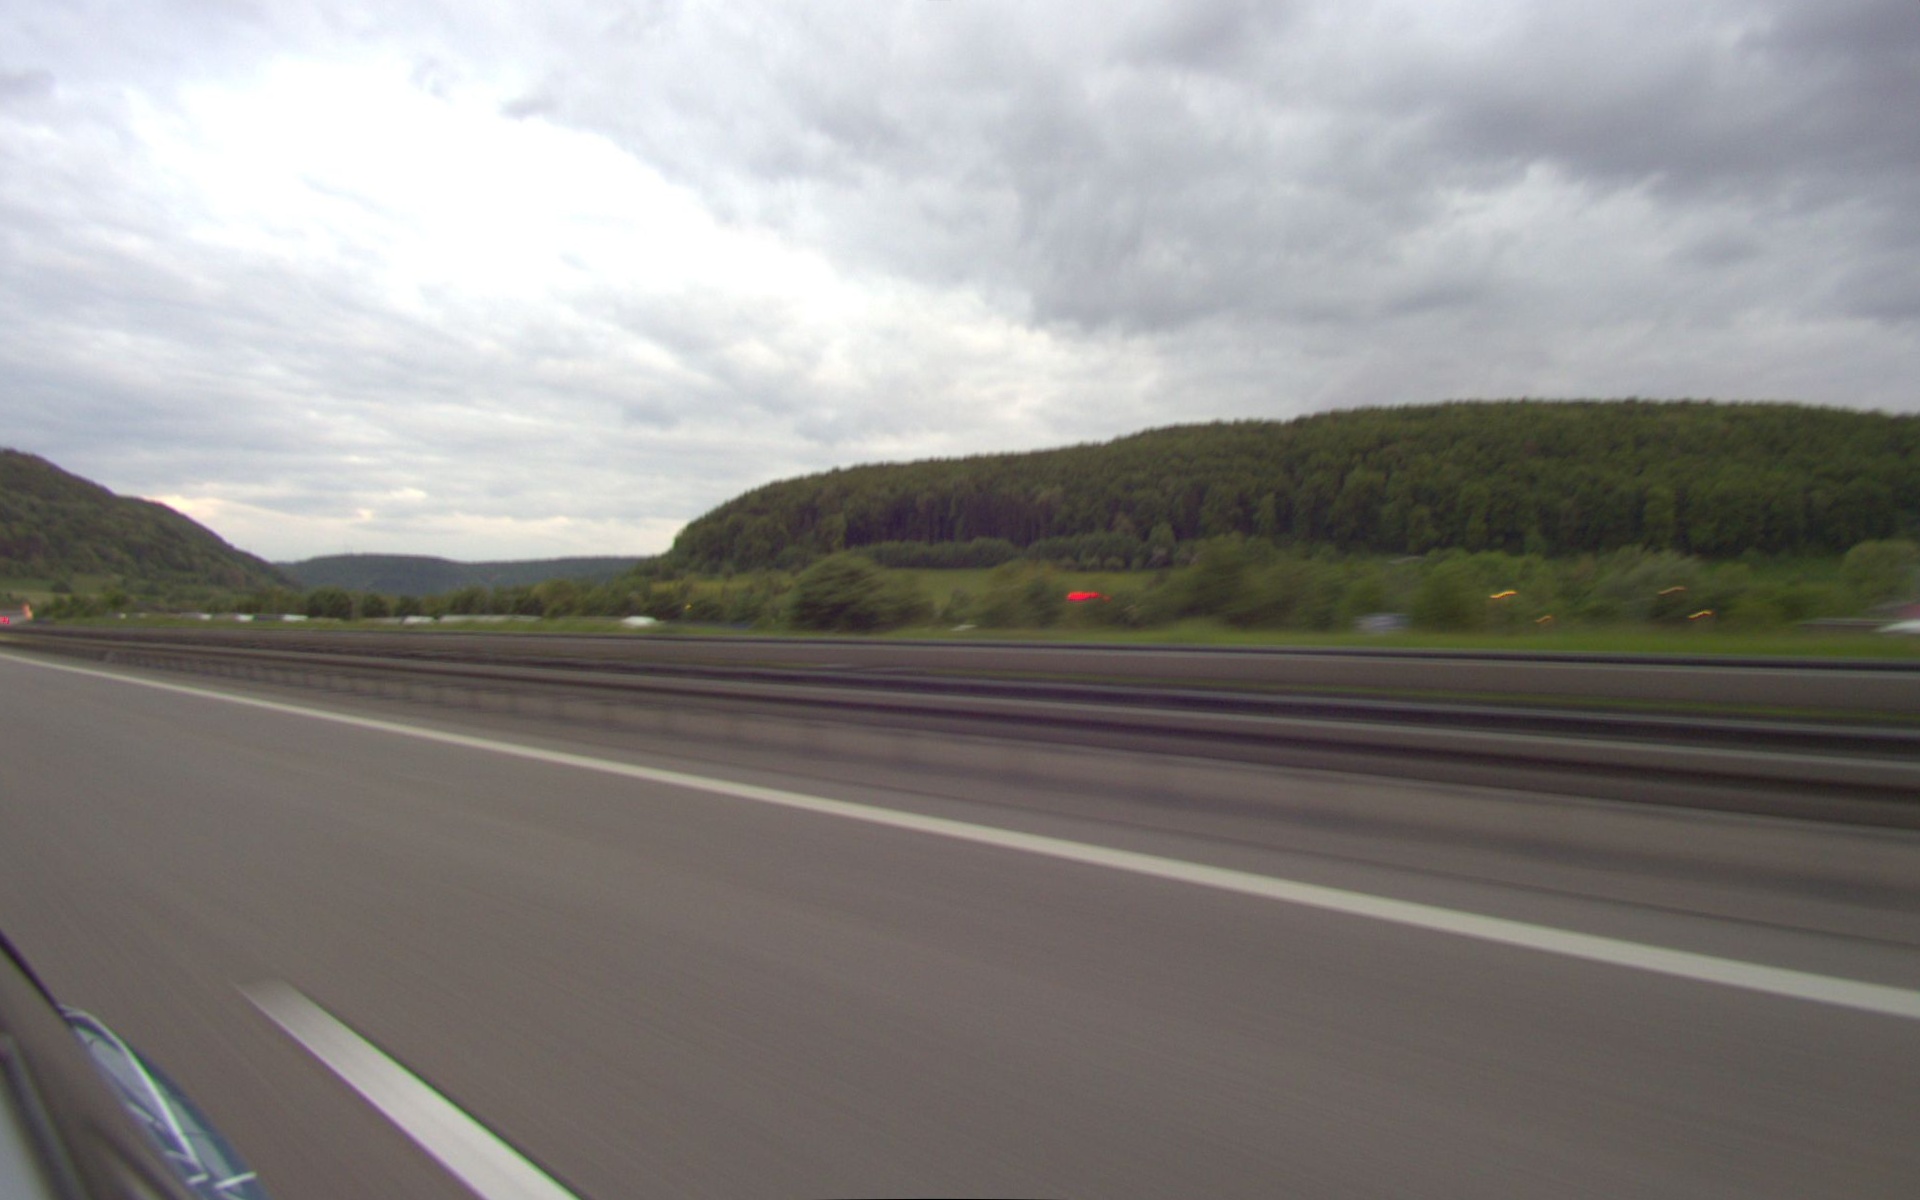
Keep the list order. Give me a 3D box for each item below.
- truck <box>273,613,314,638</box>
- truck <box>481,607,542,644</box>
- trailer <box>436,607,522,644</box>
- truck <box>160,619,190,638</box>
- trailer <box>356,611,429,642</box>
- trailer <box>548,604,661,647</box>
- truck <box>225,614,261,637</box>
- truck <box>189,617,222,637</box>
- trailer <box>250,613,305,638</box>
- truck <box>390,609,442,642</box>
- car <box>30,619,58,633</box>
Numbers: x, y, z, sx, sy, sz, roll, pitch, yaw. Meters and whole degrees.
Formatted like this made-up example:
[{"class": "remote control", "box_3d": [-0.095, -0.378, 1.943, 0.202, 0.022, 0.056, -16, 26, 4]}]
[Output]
[{"class": "truck", "box_3d": [-83.821, 3.216, 127.295, 5.890, 3.112, 2.837, -1, -2, 41]}, {"class": "truck", "box_3d": [-38.378, 2.178, 86.594, 5.302, 3.112, 2.837, -1, -2, 41]}, {"class": "trailer", "box_3d": [-43.328, 2.289, 90.960, 11.155, 3.112, 2.837, -1, -2, 42]}, {"class": "truck", "box_3d": [-132.530, 4.851, 170.827, 5.890, 3.112, 2.837, -1, -2, 41]}, {"class": "trailer", "box_3d": [-58.576, 2.747, 104.237, 11.721, 3.076, 2.843, -2, -2, 42]}, {"class": "trailer", "box_3d": [-27.190, 1.935, 77.016, 11.149, 3.112, 2.838, -1, -2, 40]}, {"class": "truck", "box_3d": [-100.932, 3.600, 142.359, 5.890, 3.112, 2.837, -1, -2, 41]}, {"class": "truck", "box_3d": [-116.533, 4.170, 156.254, 5.890, 3.112, 2.837, -1, -2, 41]}, {"class": "trailer", "box_3d": [-89.203, 3.339, 132.115, 12.480, 3.112, 2.837, -1, -2, 42]}, {"class": "truck", "box_3d": [-53.896, 2.524, 100.182, 5.302, 3.112, 2.837, -1, -2, 41]}, {"class": "car", "box_3d": [-115.937, 3.272, 128.064, 5.113, 1.714, 1.973, -2, -5, 41]}]
